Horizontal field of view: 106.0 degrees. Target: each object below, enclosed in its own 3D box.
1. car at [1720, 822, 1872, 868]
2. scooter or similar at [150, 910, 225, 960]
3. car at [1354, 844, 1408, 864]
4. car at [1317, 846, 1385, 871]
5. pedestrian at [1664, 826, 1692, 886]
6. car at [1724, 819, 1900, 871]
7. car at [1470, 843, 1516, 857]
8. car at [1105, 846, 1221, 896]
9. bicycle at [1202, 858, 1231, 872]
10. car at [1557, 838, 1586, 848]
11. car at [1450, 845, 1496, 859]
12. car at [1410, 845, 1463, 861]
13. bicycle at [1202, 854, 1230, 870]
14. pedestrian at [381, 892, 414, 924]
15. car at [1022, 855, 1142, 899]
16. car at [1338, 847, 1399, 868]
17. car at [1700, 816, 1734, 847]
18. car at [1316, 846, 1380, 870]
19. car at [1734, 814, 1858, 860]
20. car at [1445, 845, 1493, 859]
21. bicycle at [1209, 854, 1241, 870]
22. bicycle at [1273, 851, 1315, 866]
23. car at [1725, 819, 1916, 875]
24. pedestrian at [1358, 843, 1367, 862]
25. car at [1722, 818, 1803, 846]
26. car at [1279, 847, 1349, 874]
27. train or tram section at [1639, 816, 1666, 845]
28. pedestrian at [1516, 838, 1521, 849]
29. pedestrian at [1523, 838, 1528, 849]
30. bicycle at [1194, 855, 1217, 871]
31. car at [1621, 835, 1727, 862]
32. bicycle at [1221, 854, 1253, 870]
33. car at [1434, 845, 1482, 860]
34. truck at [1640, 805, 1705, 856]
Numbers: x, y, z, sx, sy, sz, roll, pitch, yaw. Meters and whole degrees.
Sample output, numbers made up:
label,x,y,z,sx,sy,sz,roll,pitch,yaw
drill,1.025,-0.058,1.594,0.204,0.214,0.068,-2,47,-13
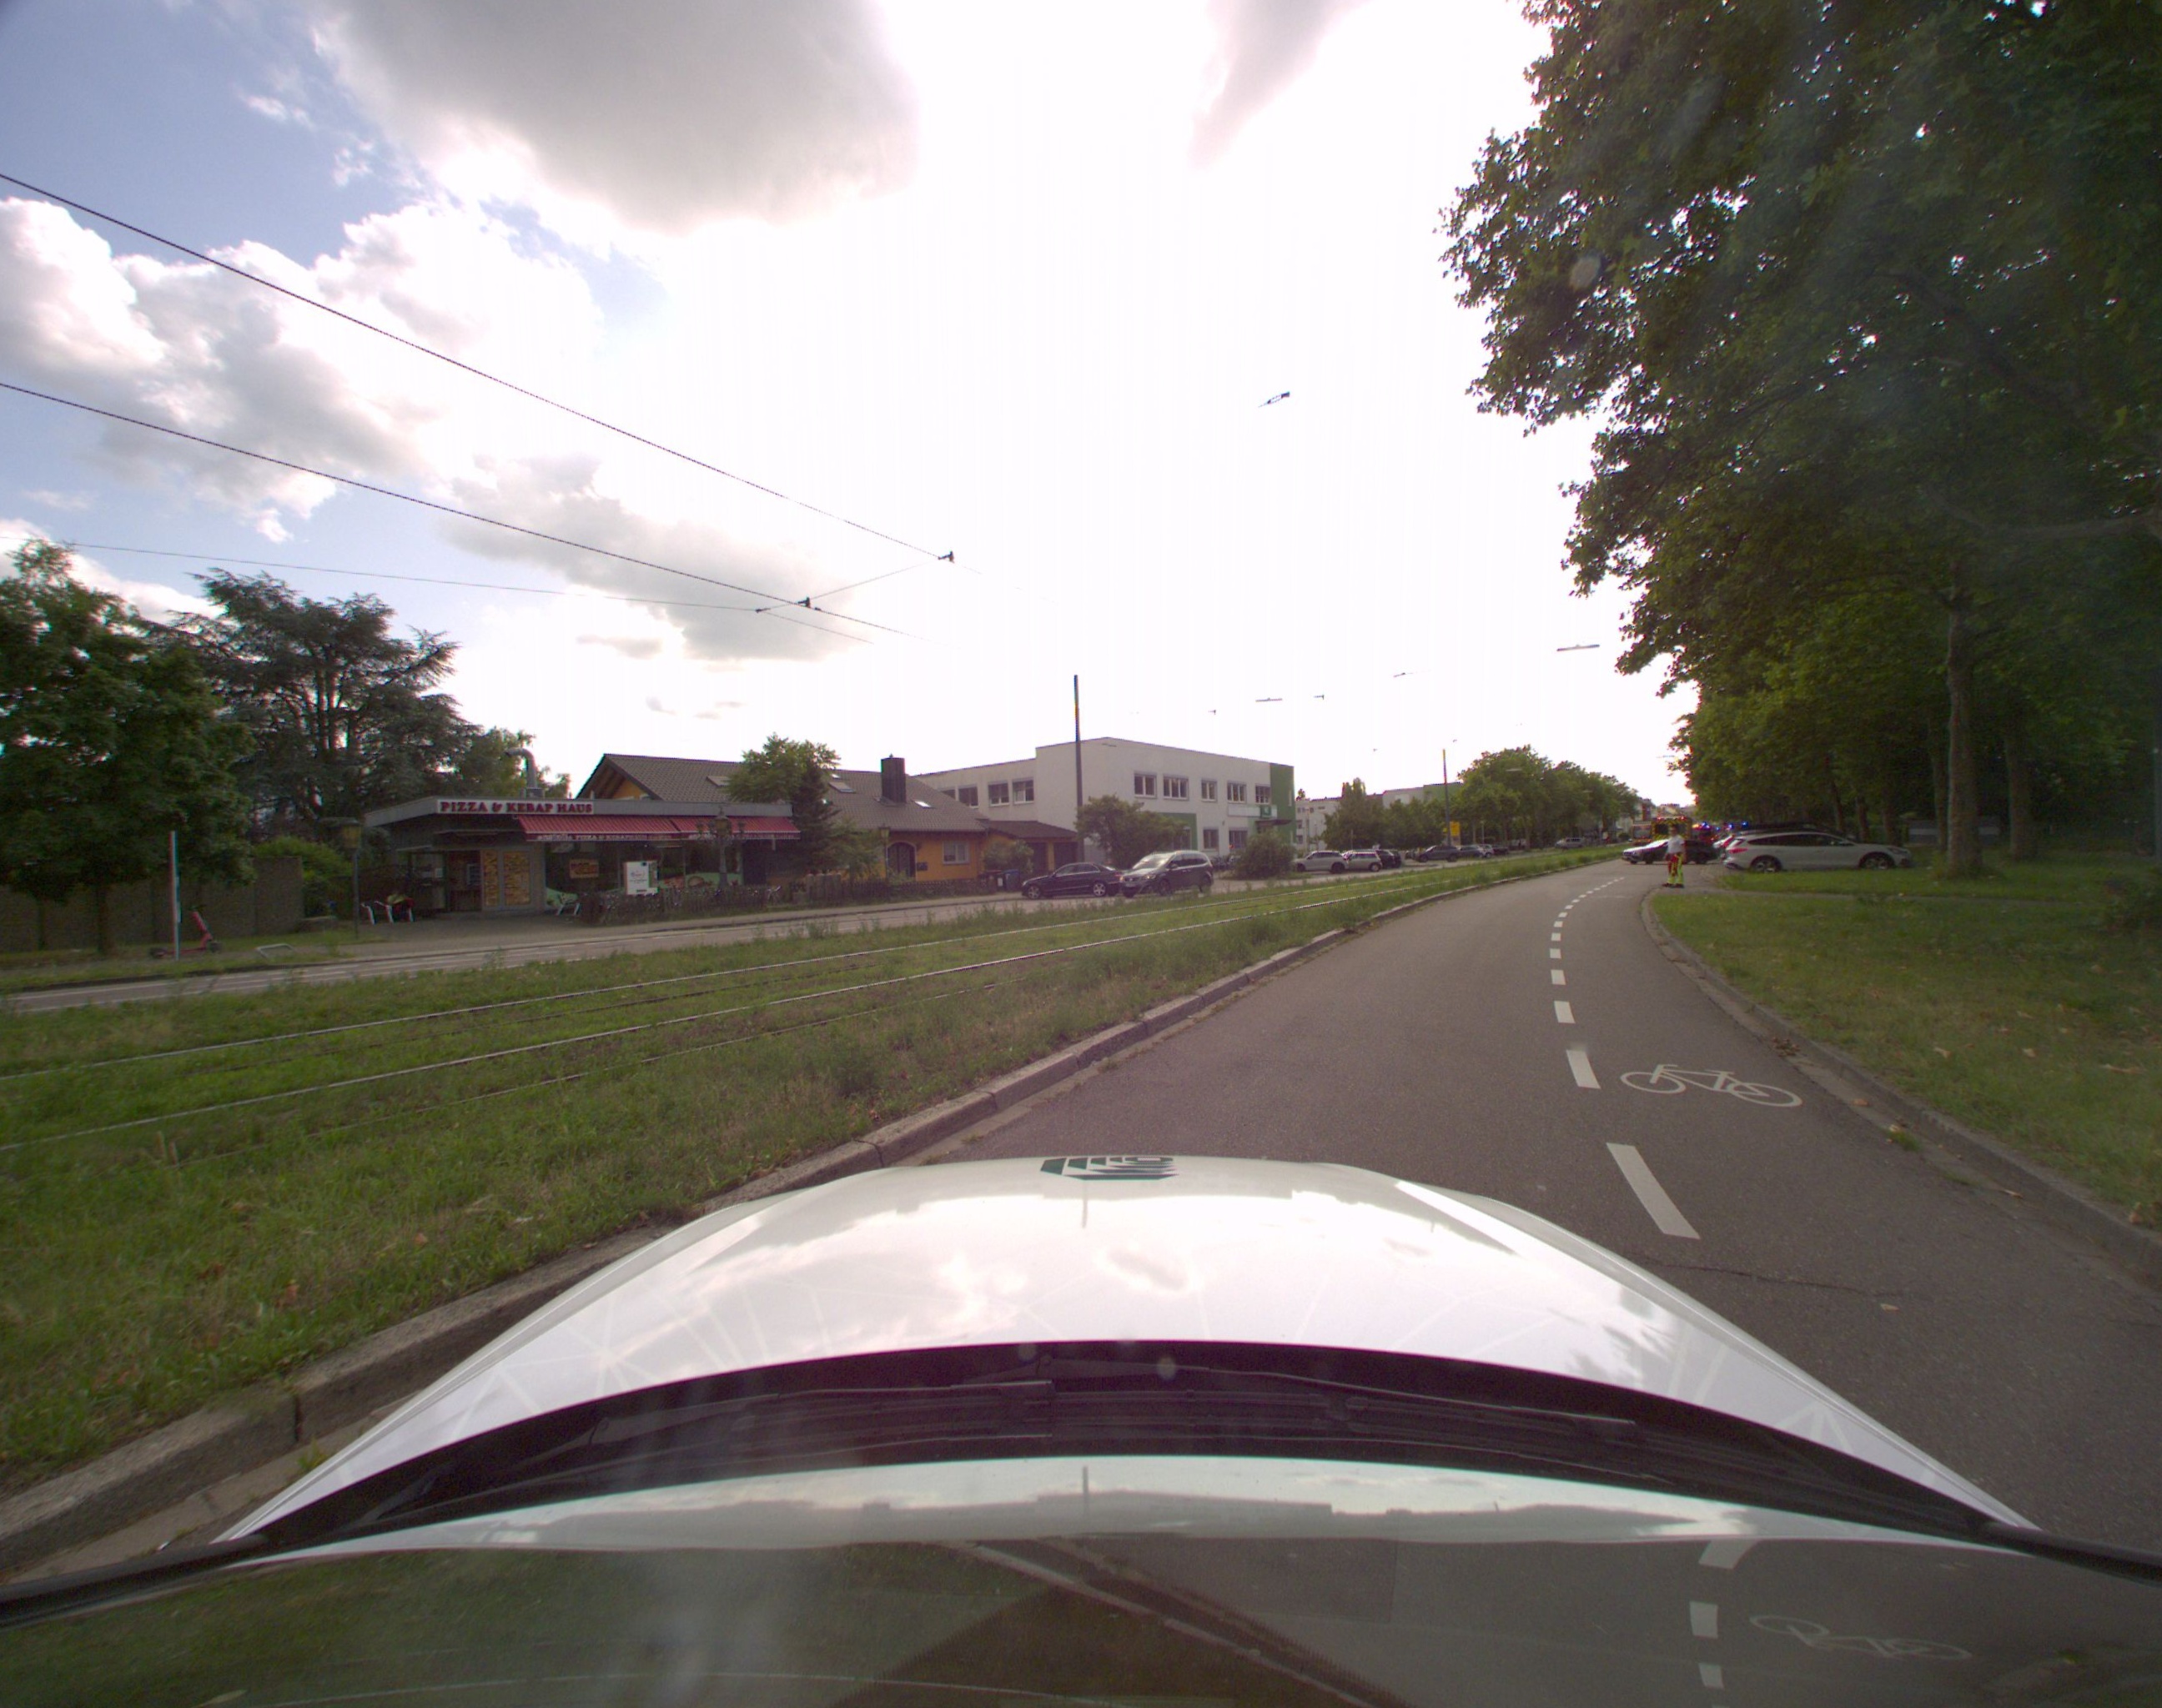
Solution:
label,x,y,z,sx,sy,sz,roll,pitch,yaw
car,29.171,-0.332,33.435,4.484,1.644,2.013,-3,-2,37
scooter or similar,-20.881,1.882,19.057,1.109,1.059,0.397,-1,0,-36
car,24.864,0.011,67.604,4.124,1.504,1.869,-2,0,17
car,18.990,0.319,57.428,4.273,1.629,1.908,-2,0,11
pedestrian,17.029,0.065,23.242,0.579,1.684,0.497,-2,-1,35
car,26.030,-0.259,29.270,4.484,1.644,2.013,-3,-2,37
car,46.118,-0.440,91.290,4.267,1.364,1.910,-2,0,17
car,3.286,0.645,31.780,1.974,1.722,4.770,-3,0,42
bicycle,10.256,0.814,61.636,2.132,0.970,0.735,-3,-1,43
car,87.971,-1.952,146.050,3.965,1.838,1.826,0,0,7
car,42.738,-0.250,88.915,4.267,1.364,1.910,-2,0,17
car,33.026,-0.085,75.807,4.269,1.364,1.910,-2,0,15
bicycle,9.735,0.577,58.808,1.774,1.081,0.741,-3,-1,37
pedestrian,-21.955,1.724,26.158,0.767,0.929,0.731,0,0,44
car,0.066,0.954,34.067,4.527,1.580,2.010,-3,-1,19
car,21.879,0.266,62.156,4.129,1.504,1.867,-2,0,11
car,72.523,-2.529,92.973,2.937,3.330,7.507,0,0,37
car,19.623,0.279,59.968,4.273,1.629,1.908,-2,0,11
car,35.683,-0.802,40.809,4.498,2.014,2.013,-3,-1,40
car,41.278,-0.224,86.744,4.267,1.364,1.910,-2,0,17
bicycle,11.003,0.606,62.206,2.322,1.166,0.765,-3,-1,45
bicycle,17.590,0.384,67.335,3.103,1.166,1.149,-3,0,35
car,24.445,-0.169,27.207,4.484,1.644,2.013,-3,-2,37
pedestrian,26.111,-0.155,75.594,0.590,1.674,0.544,-3,-1,30
car,84.208,-2.672,100.792,7.363,3.330,2.994,0,0,34
car,15.745,0.441,55.249,4.279,1.629,1.905,-2,0,6
train or tram section,73.946,-3.031,105.538,2.463,3.596,7.469,-3,0,33
pedestrian,70.229,-1.680,130.713,0.614,1.729,0.650,0,0,39
pedestrian,71.537,-1.691,131.093,0.614,1.729,0.650,0,0,39
bicycle,9.226,0.662,60.480,0.709,1.166,1.603,-2,-1,-34
car,33.866,-0.307,46.627,4.557,1.393,1.848,-2,0,14
bicycle,12.061,0.599,62.827,0.753,1.166,2.388,-2,-1,-44
car,39.002,-0.187,84.286,4.267,1.364,1.910,-2,0,17
truck,42.354,-1.648,58.191,3.153,3.317,7.571,-3,0,40
